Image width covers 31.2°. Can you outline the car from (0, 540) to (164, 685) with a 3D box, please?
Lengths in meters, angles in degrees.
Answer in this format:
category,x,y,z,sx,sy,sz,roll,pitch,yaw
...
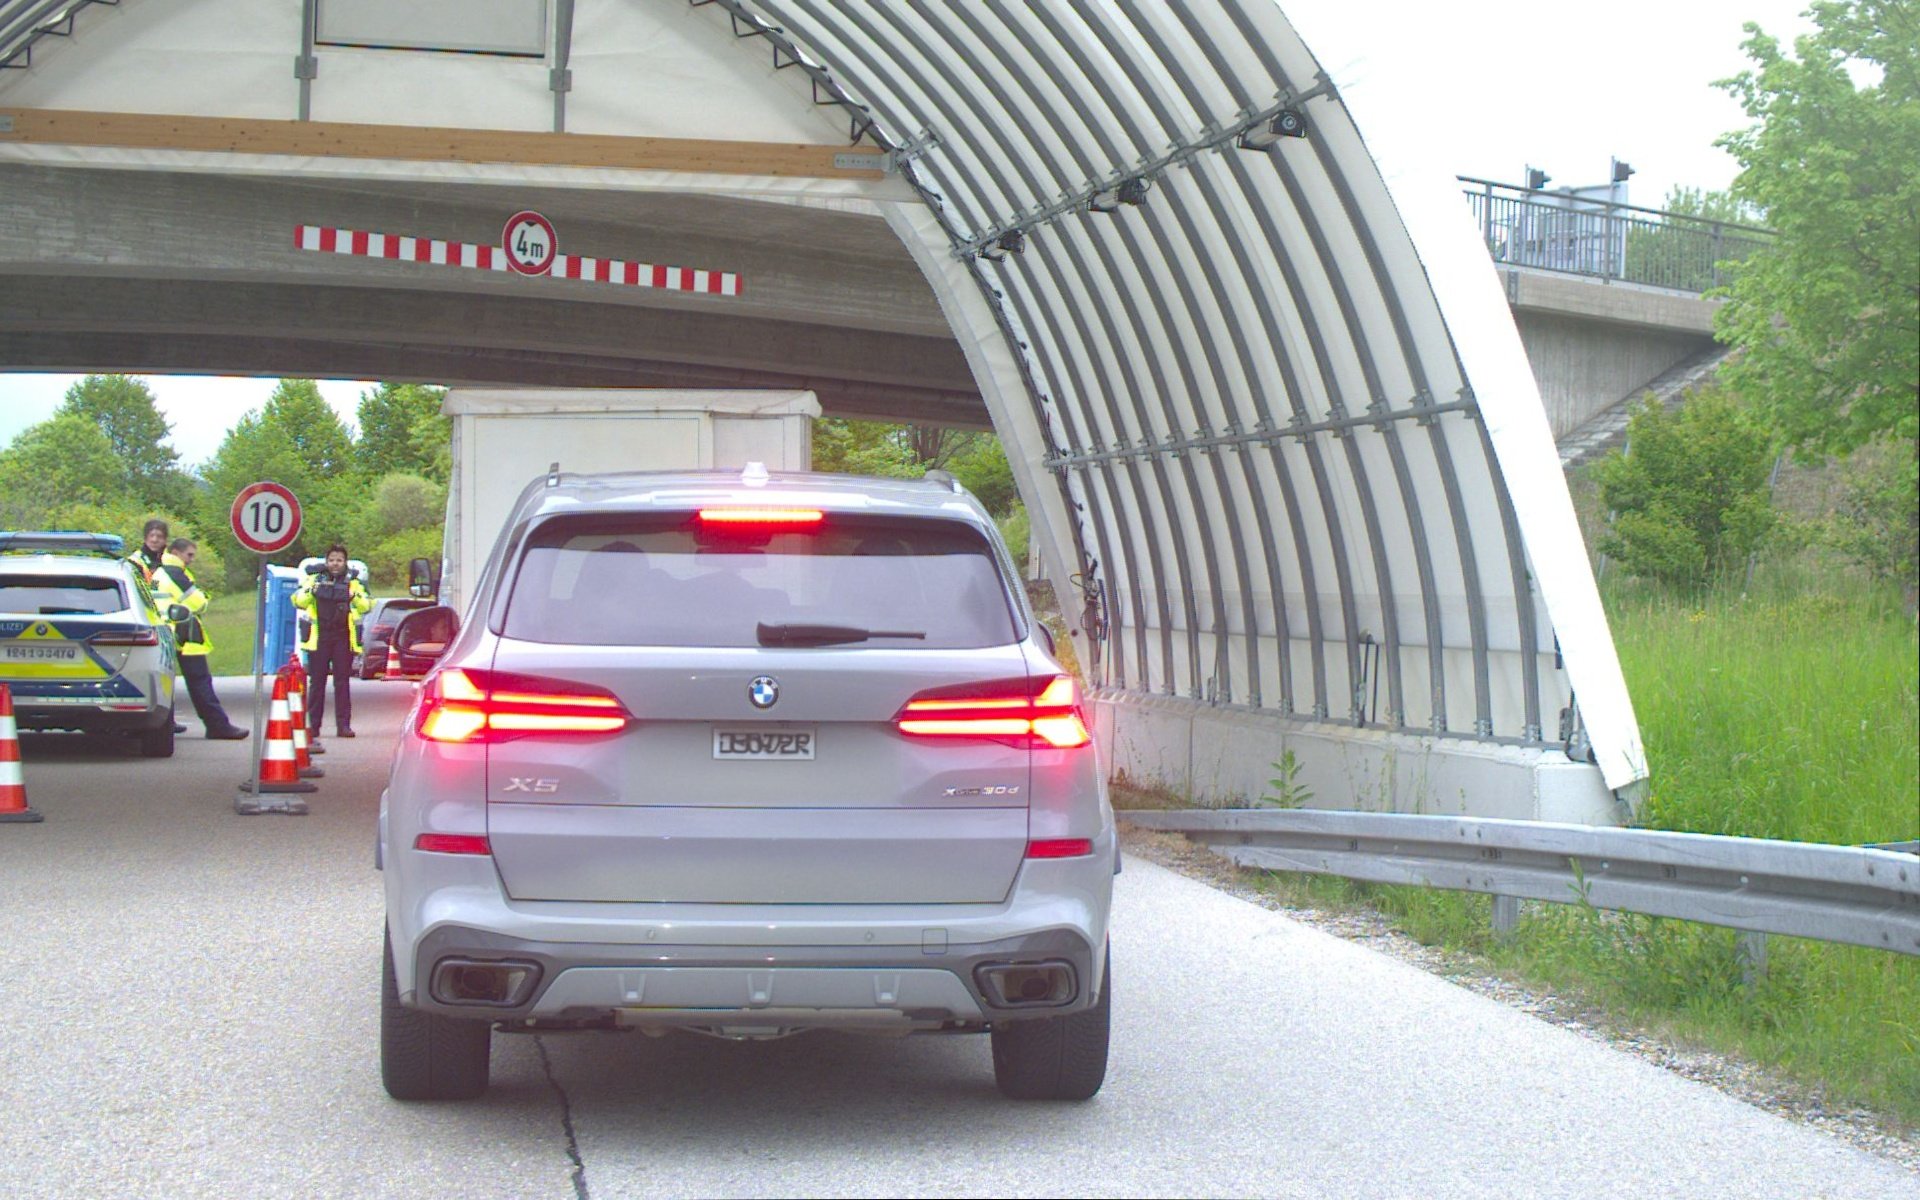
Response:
category,x,y,z,sx,sy,sz,roll,pitch,yaw
car,-13.972,0.163,48.963,4.807,2.007,1.840,0,0,7

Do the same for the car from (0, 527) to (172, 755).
category,x,y,z,sx,sy,sz,roll,pitch,yaw
car,-7.165,0.283,26.780,1.877,1.641,4.001,0,0,-15

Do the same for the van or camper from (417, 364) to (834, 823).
category,x,y,z,sx,sy,sz,roll,pitch,yaw
van or camper,-2.373,-0.062,22.500,2.229,2.543,6.612,0,0,-10

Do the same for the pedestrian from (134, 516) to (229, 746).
category,x,y,z,sx,sy,sz,roll,pitch,yaw
pedestrian,-6.562,0.253,28.965,0.749,1.912,0.763,0,0,-15

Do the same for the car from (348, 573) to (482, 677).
category,x,y,z,sx,sy,sz,roll,pitch,yaw
car,-9.318,0.397,58.583,1.993,1.716,3.897,0,0,-13

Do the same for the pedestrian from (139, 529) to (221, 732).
category,x,y,z,sx,sy,sz,roll,pitch,yaw
pedestrian,-6.788,0.258,29.929,0.609,1.748,0.666,0,0,-6

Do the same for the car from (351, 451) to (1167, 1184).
category,x,y,z,sx,sy,sz,roll,pitch,yaw
car,-0.791,0.503,10.373,1.993,1.759,4.001,0,0,-9

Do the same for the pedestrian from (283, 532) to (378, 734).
category,x,y,z,sx,sy,sz,roll,pitch,yaw
pedestrian,-5.434,0.276,29.634,0.779,1.716,0.757,0,0,-12

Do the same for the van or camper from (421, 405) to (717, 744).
category,x,y,z,sx,sy,sz,roll,pitch,yaw
van or camper,-3.342,-0.211,28.406,2.103,2.510,5.552,0,0,-10
